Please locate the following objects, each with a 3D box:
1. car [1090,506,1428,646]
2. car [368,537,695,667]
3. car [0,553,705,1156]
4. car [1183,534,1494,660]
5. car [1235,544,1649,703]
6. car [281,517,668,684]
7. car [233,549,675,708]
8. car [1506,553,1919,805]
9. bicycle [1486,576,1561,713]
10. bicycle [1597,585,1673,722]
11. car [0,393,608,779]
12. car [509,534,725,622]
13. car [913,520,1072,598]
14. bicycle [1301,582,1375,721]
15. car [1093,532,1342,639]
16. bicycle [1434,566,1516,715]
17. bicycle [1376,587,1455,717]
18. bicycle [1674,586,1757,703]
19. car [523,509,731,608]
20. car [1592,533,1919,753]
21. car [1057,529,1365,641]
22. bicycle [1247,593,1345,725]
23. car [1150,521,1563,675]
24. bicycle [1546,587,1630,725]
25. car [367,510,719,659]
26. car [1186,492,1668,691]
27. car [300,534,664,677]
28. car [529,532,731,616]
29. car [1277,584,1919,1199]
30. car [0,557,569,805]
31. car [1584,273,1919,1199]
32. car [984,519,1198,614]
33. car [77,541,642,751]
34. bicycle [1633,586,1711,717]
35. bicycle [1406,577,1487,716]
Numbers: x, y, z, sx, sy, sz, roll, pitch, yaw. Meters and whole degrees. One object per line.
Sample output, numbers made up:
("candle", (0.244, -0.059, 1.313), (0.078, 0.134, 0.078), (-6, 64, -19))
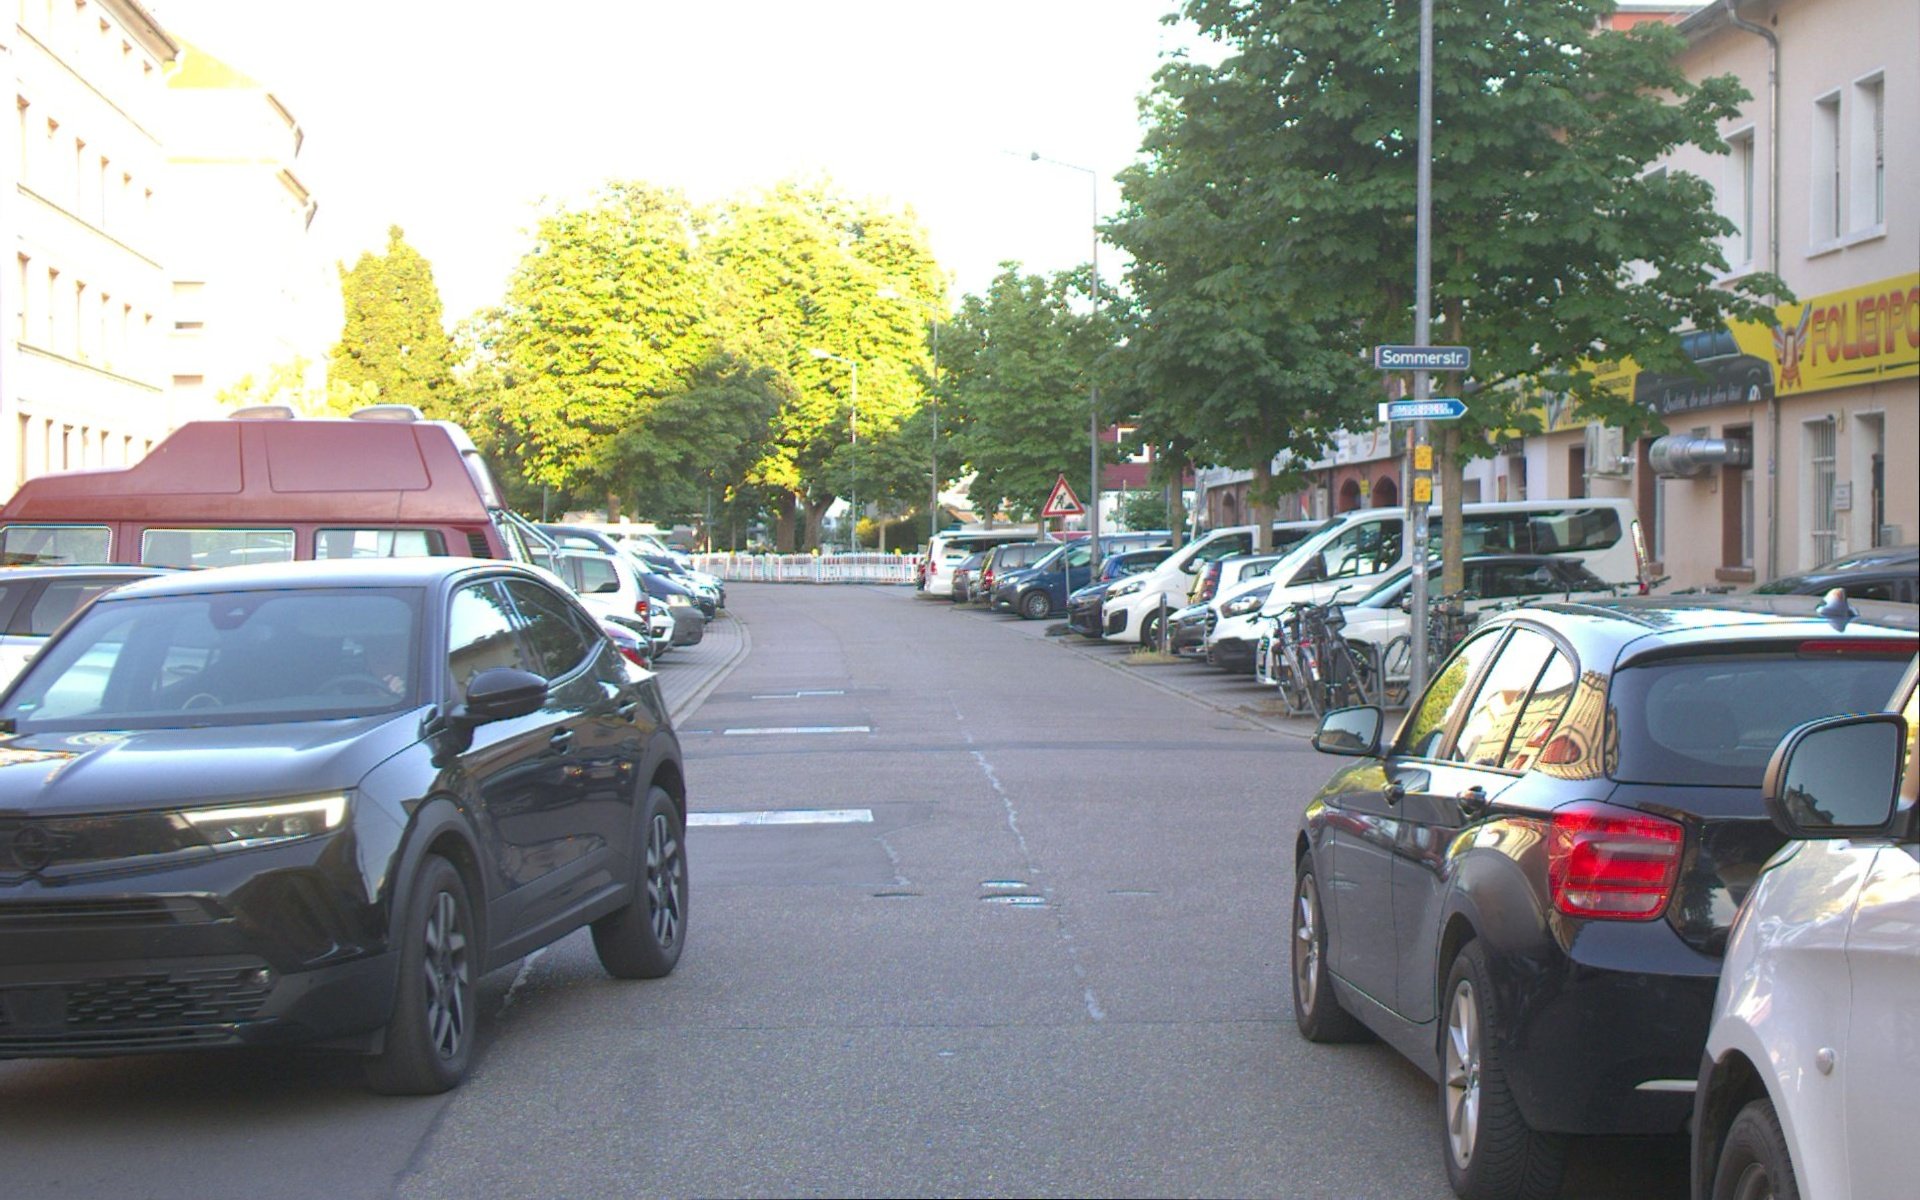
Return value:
("car", (4.624, -0.384, 53.659), (4.943, 1.951, 2.049), (-2, 1, -3))
("car", (-5.828, 0.012, 47.148), (4.256, 1.646, 1.888), (1, 1, -1))
("car", (-2.159, 0.642, 10.862), (1.780, 1.512, 3.999), (-1, 1, 9))
("car", (5.068, -0.051, 46.410), (3.911, 1.521, 1.939), (-2, 1, 0))
("car", (4.952, 0.221, 35.645), (3.918, 1.446, 1.768), (-2, 1, -4))
("car", (-5.635, -0.012, 40.321), (4.256, 1.830, 2.000), (1, 1, -1))
("car", (-5.075, 0.270, 34.912), (4.209, 1.484, 1.850), (1, 1, -1))
("car", (5.598, 0.446, 21.644), (3.927, 1.450, 1.658), (-1, 1, -10))
("bicycle", (5.134, 0.394, 31.364), (0.386, 1.196, 1.481), (-1, 1, -1))
("bicycle", (6.145, 0.474, 31.338), (0.353, 1.196, 1.481), (-1, 1, -1))
("car", (-4.919, -0.119, 24.728), (4.511, 2.575, 2.000), (1, 1, 0))
("car", (-7.026, -0.461, 70.781), (4.256, 1.709, 2.000), (1, 1, -1))
("car", (0.837, -1.104, 91.549), (3.967, 1.905, 2.050), (-2, 1, -6))
("bicycle", (3.453, 0.453, 31.468), (0.386, 1.196, 2.017), (-1, 1, -1))
("car", (4.721, -0.278, 63.443), (4.316, 1.798, 1.811), (-2, 1, -3))
("bicycle", (4.709, 0.351, 31.513), (0.386, 1.300, 2.017), (-1, 1, -1))
("bicycle", (4.163, 0.459, 31.511), (0.386, 1.110, 2.017), (-1, 1, -1))
("bicycle", (6.906, 0.398, 31.475), (0.387, 1.013, 1.481), (-1, 1, -1))
("car", (-7.541, -0.944, 78.176), (4.533, 2.127, 2.000), (1, 1, -1))
("car", (7.039, 0.284, 26.319), (4.050, 1.509, 1.756), (-1, 3, 0))
("car", (4.230, -0.272, 58.528), (4.943, 1.683, 2.077), (-2, 1, -3))
("bicycle", (3.041, 0.516, 31.276), (0.438, 1.126, 2.018), (-1, 1, -7))
("car", (4.987, -0.042, 43.775), (4.944, 1.736, 2.049), (-2, 1, 0))
("bicycle", (5.716, 0.492, 31.342), (0.445, 1.196, 1.481), (-1, 1, -1))
("car", (-5.971, -0.231, 49.698), (4.850, 2.014, 1.907), (1, 1, -1))
("car", (5.145, -0.107, 38.431), (4.989, 1.976, 2.220), (-2, 1, -1))
("car", (-5.889, 0.054, 42.791), (4.256, 1.654, 2.000), (1, 1, -1))
("car", (-7.214, -0.582, 75.549), (4.256, 1.743, 2.000), (1, 1, -1))
("car", (1.977, 0.711, 9.180), (1.721, 1.419, 4.254), (1, 1, -2))
("car", (-4.884, 0.486, 22.159), (4.615, 1.455, 1.881), (1, 1, -5))
("car", (2.157, 0.549, 3.647), (1.893, 1.877, 5.082), (0, 1, -2))
("car", (2.877, -0.750, 76.078), (4.478, 1.905, 1.688), (-2, 1, -6))
("car", (-4.689, 0.339, 27.308), (4.208, 1.533, 1.791), (1, 1, -3))
("bicycle", (6.504, 0.458, 31.425), (0.353, 1.139, 1.481), (-1, 1, -1))
("bicycle", (4.448, 0.406, 31.501), (0.386, 1.196, 2.017), (-1, 1, -1))
